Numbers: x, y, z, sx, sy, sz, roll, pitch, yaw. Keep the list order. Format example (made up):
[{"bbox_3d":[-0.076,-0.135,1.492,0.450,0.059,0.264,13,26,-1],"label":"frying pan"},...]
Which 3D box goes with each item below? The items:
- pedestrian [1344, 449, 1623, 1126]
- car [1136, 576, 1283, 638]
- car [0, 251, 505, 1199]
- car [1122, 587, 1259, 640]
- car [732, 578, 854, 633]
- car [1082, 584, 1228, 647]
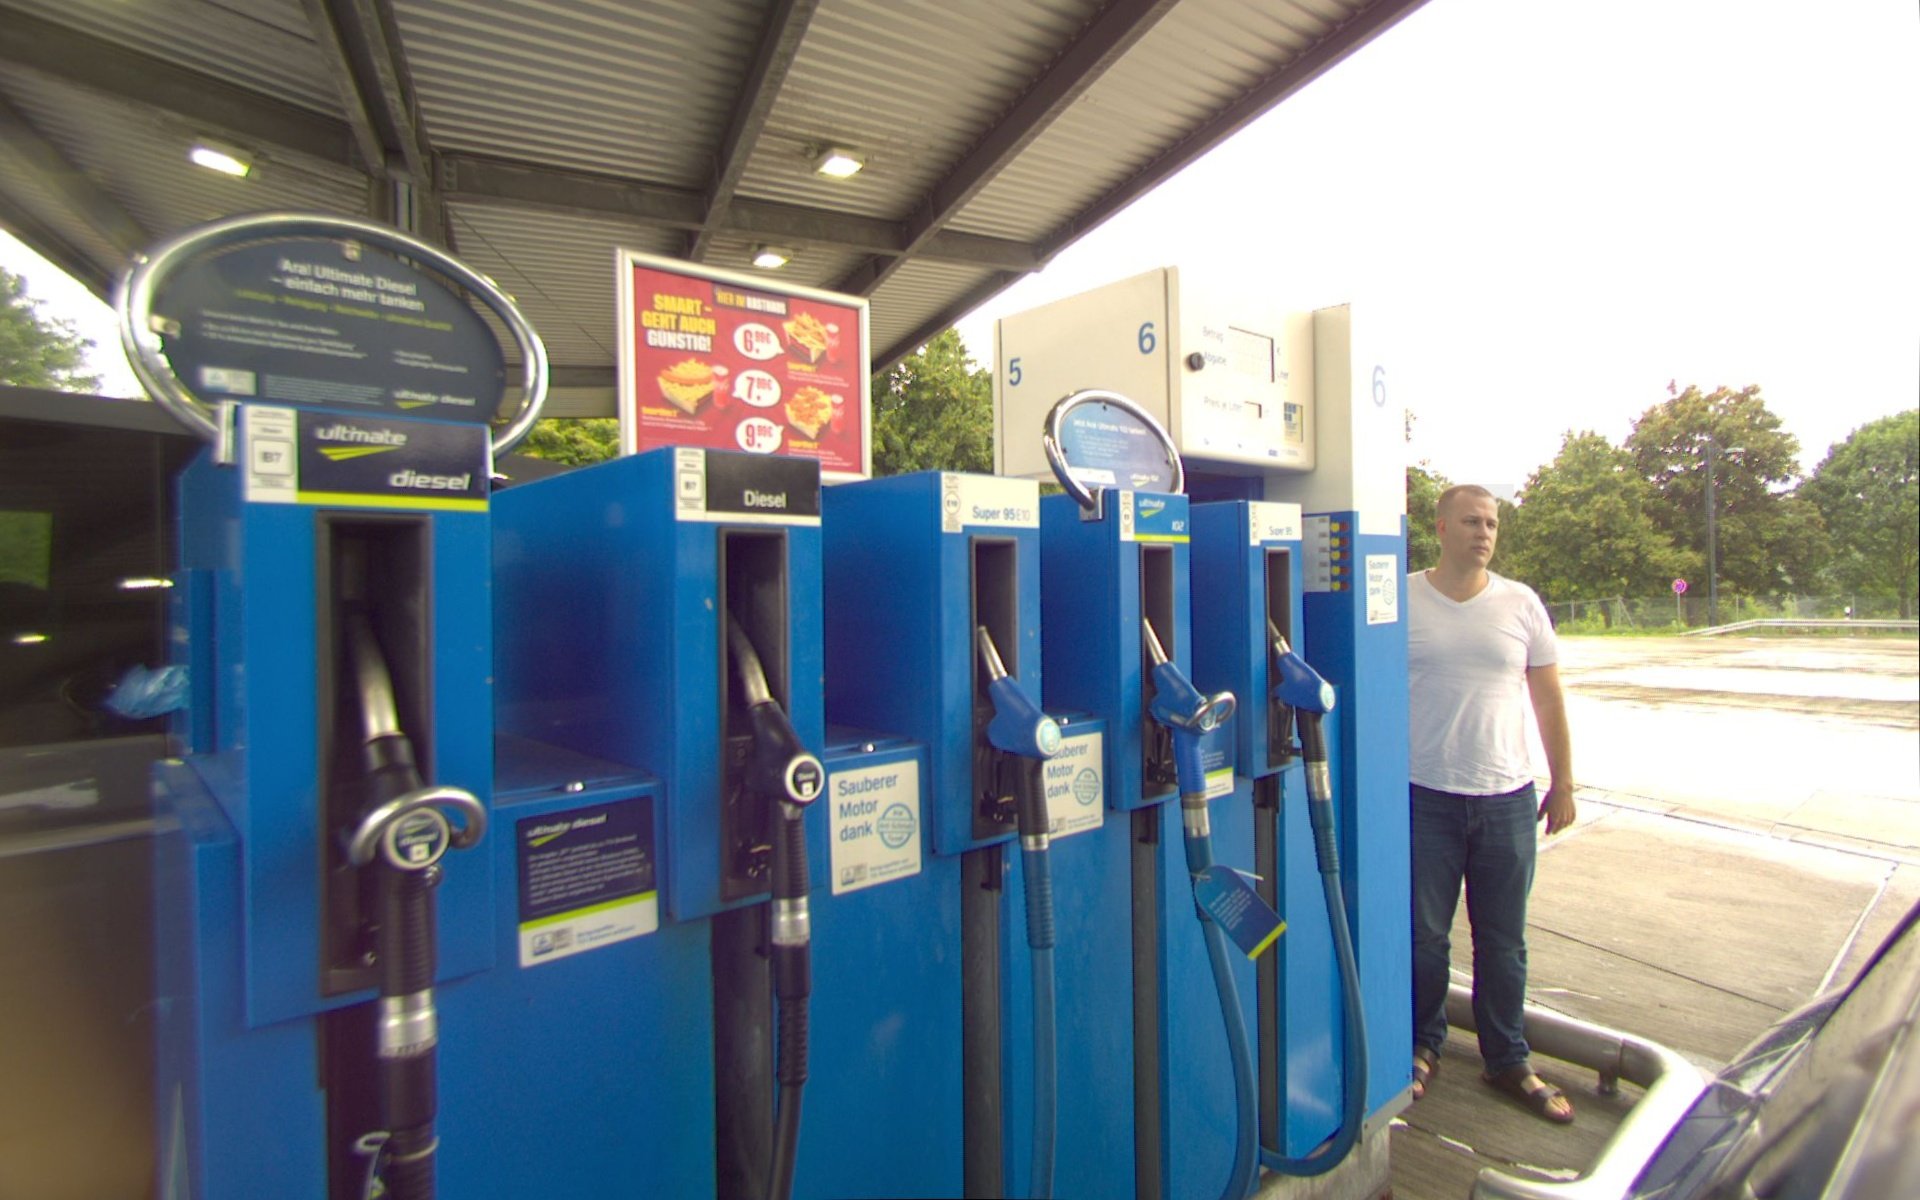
[{"bbox_3d":[1.535,0.506,3.050,0.625,1.832,0.492,-1,1,15],"label":"pedestrian"},{"bbox_3d":[8.440,0.206,34.484,4.700,2.011,2.007,0,0,14],"label":"car"},{"bbox_3d":[-3.013,0.428,1.490,3.930,1.973,1.819,0,0,-41],"label":"car"},{"bbox_3d":[7.331,0.401,32.182,4.123,1.576,1.990,0,0,17],"label":"car"},{"bbox_3d":[-5.573,0.148,33.507,1.967,1.683,4.170,0,0,-44],"label":"car"},{"bbox_3d":[5.805,0.418,29.981,4.123,1.752,1.990,0,0,17],"label":"car"}]
